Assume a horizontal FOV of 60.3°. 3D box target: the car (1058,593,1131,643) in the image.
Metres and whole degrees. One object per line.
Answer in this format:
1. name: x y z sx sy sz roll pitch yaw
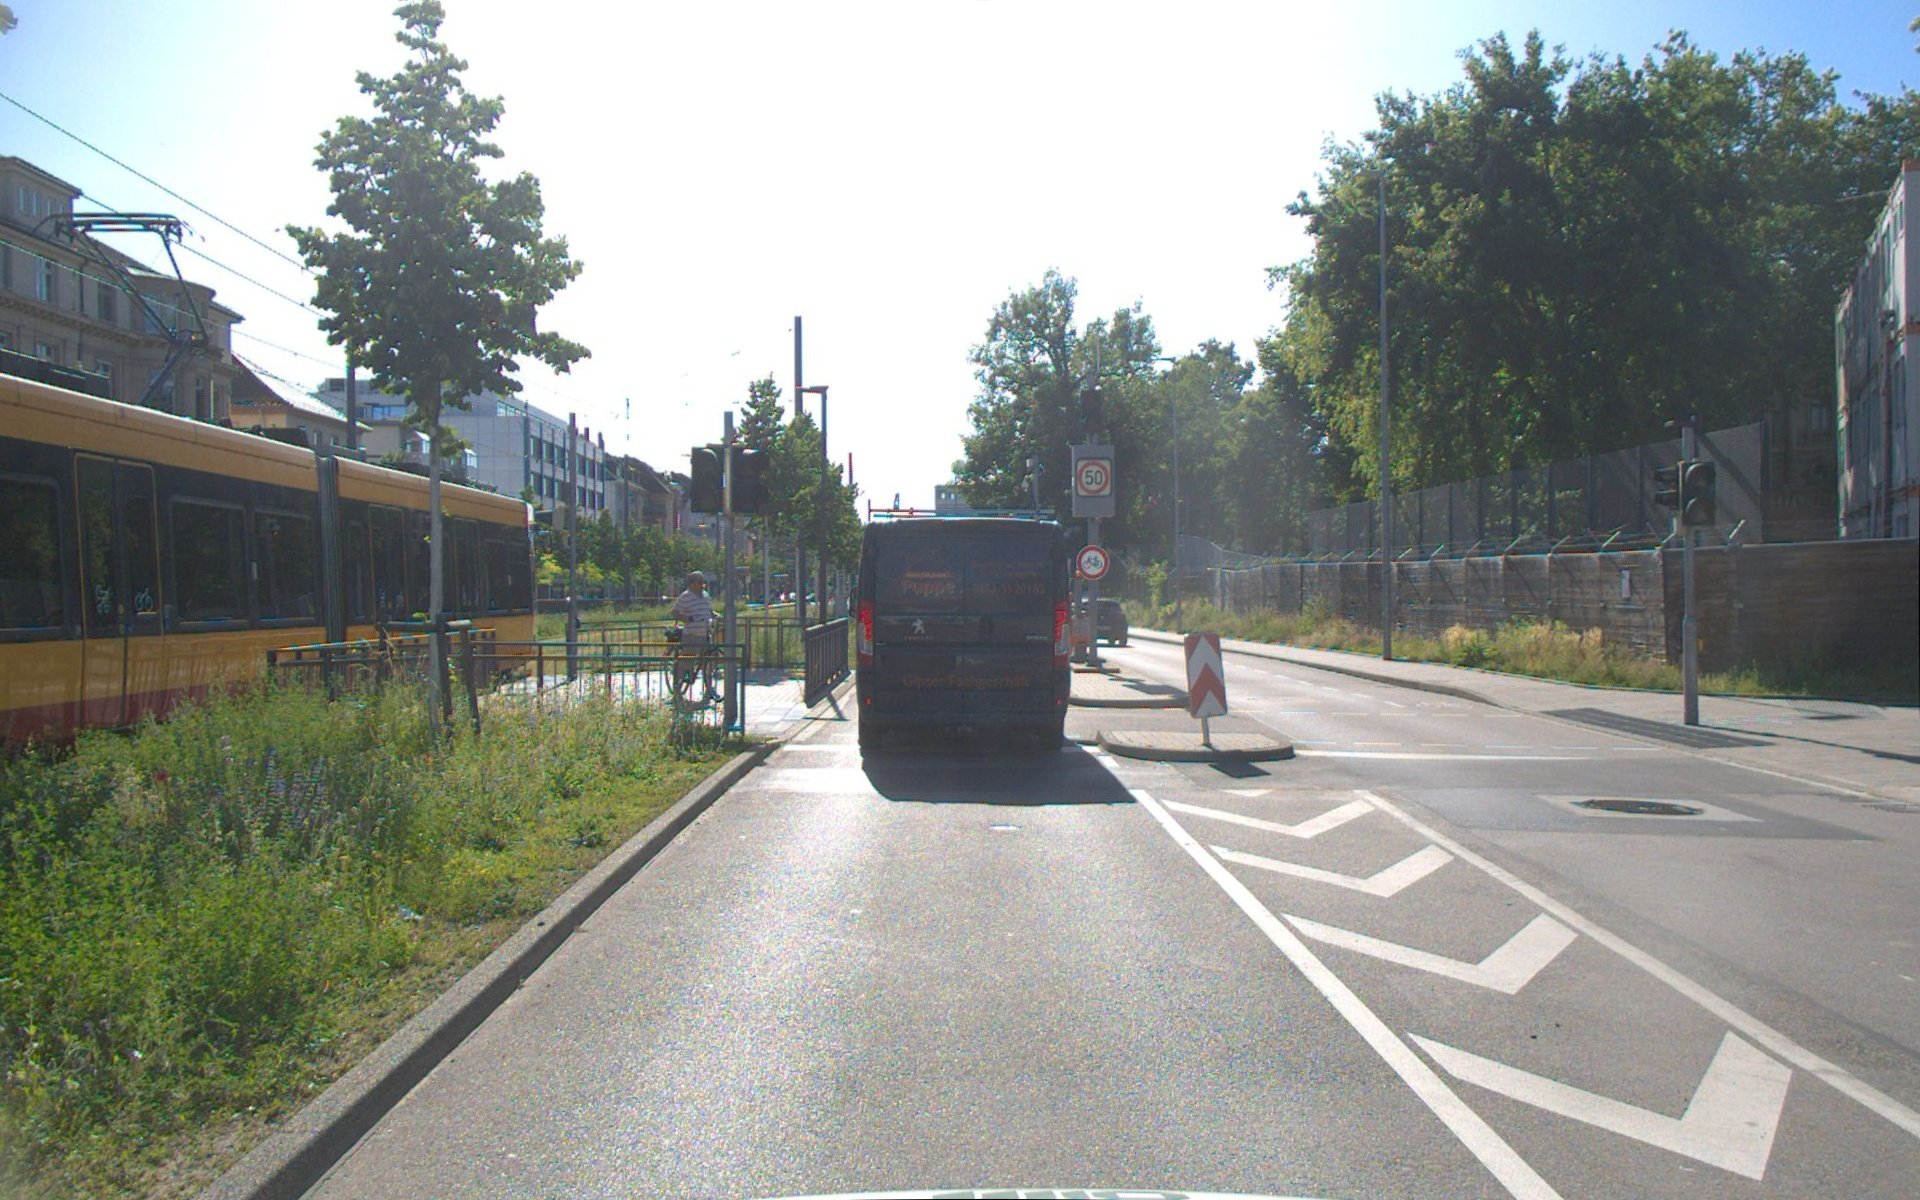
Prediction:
1. car: 4.148 0.528 51.525 1.728 1.488 3.997 0 0 -3

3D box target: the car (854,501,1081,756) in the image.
1. car: 0.003 0.250 16.902 2.040 2.288 3.998 0 0 -2

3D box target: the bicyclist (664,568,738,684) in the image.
1. bicyclist: -3.522 0.340 22.485 0.816 1.539 0.723 0 0 -27

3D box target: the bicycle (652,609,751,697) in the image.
1. bicycle: -3.528 0.690 22.452 0.724 1.110 2.064 0 0 -27

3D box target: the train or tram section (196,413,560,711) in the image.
1. train or tram section: -8.715 -0.498 26.598 1.953 3.733 11.681 0 0 -1

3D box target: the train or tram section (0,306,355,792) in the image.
1. train or tram section: -8.426 -0.402 15.114 1.953 3.733 11.312 0 0 -2
